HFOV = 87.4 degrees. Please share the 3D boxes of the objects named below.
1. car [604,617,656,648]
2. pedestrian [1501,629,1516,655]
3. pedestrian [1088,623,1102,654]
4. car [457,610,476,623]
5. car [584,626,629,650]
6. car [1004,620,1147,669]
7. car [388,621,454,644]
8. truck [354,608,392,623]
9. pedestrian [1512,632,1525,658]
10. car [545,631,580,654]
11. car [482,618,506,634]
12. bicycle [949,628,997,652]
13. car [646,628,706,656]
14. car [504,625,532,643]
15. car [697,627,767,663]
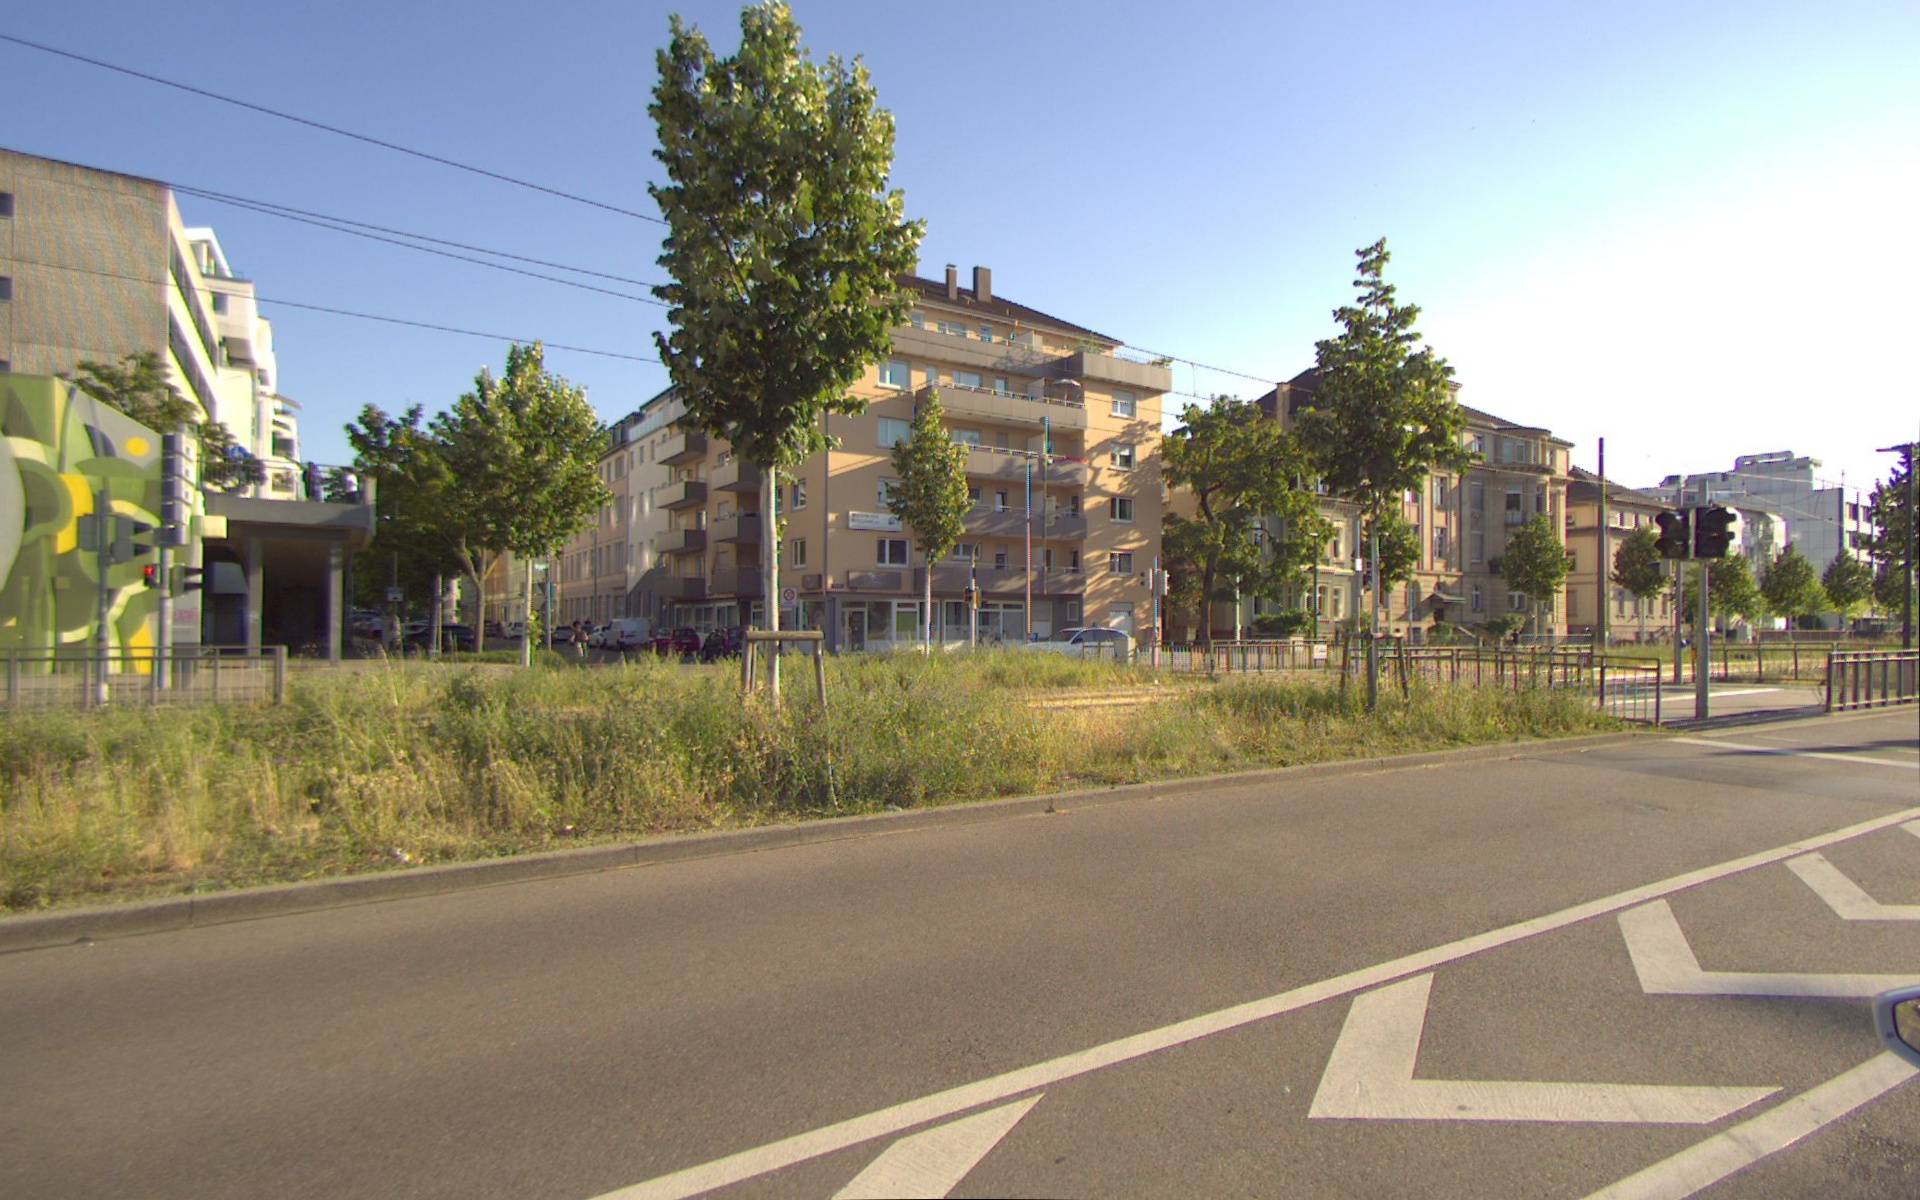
[{"bbox_3d":[-19.560,1.905,59.449,1.978,1.766,3.965,1,-1,-32],"label":"car"},{"bbox_3d":[37.041,2.806,67.826,0.646,1.743,0.652,1,-1,-34],"label":"pedestrian"},{"bbox_3d":[6.797,1.938,50.513,0.444,1.576,0.516,1,-1,-35],"label":"pedestrian"},{"bbox_3d":[-64.190,2.188,130.712,1.802,1.627,3.852,1,-1,-32],"label":"car"},{"bbox_3d":[-22.787,2.441,64.686,1.828,1.453,3.964,1,-1,-33],"label":"car"},{"bbox_3d":[3.807,1.406,32.686,4.614,1.483,1.765,1,-1,-34],"label":"car"},{"bbox_3d":[-37.224,2.248,69.377,3.956,1.533,1.983,1,-1,-32],"label":"car"},{"bbox_3d":[-85.728,2.290,146.773,4.575,2.197,1.803,1,-1,-37],"label":"truck"},{"bbox_3d":[37.435,3.012,67.302,0.646,1.743,0.552,1,-1,-34],"label":"pedestrian"},{"bbox_3d":[-30.289,3.188,76.496,1.802,1.627,3.852,1,-1,-32],"label":"car"},{"bbox_3d":[-49.787,2.767,107.301,1.802,1.627,3.852,1,-1,-32],"label":"car"},{"bbox_3d":[0.678,1.995,50.184,2.559,1.152,0.527,1,-1,-34],"label":"bicycle"},{"bbox_3d":[-14.903,2.178,52.627,1.978,1.321,3.965,1,-1,-32],"label":"car"},{"bbox_3d":[-40.350,3.081,91.677,1.802,1.627,3.852,1,-1,-32],"label":"car"},{"bbox_3d":[-10.413,2.008,45.643,1.828,1.516,3.964,1,-1,-33],"label":"car"}]
